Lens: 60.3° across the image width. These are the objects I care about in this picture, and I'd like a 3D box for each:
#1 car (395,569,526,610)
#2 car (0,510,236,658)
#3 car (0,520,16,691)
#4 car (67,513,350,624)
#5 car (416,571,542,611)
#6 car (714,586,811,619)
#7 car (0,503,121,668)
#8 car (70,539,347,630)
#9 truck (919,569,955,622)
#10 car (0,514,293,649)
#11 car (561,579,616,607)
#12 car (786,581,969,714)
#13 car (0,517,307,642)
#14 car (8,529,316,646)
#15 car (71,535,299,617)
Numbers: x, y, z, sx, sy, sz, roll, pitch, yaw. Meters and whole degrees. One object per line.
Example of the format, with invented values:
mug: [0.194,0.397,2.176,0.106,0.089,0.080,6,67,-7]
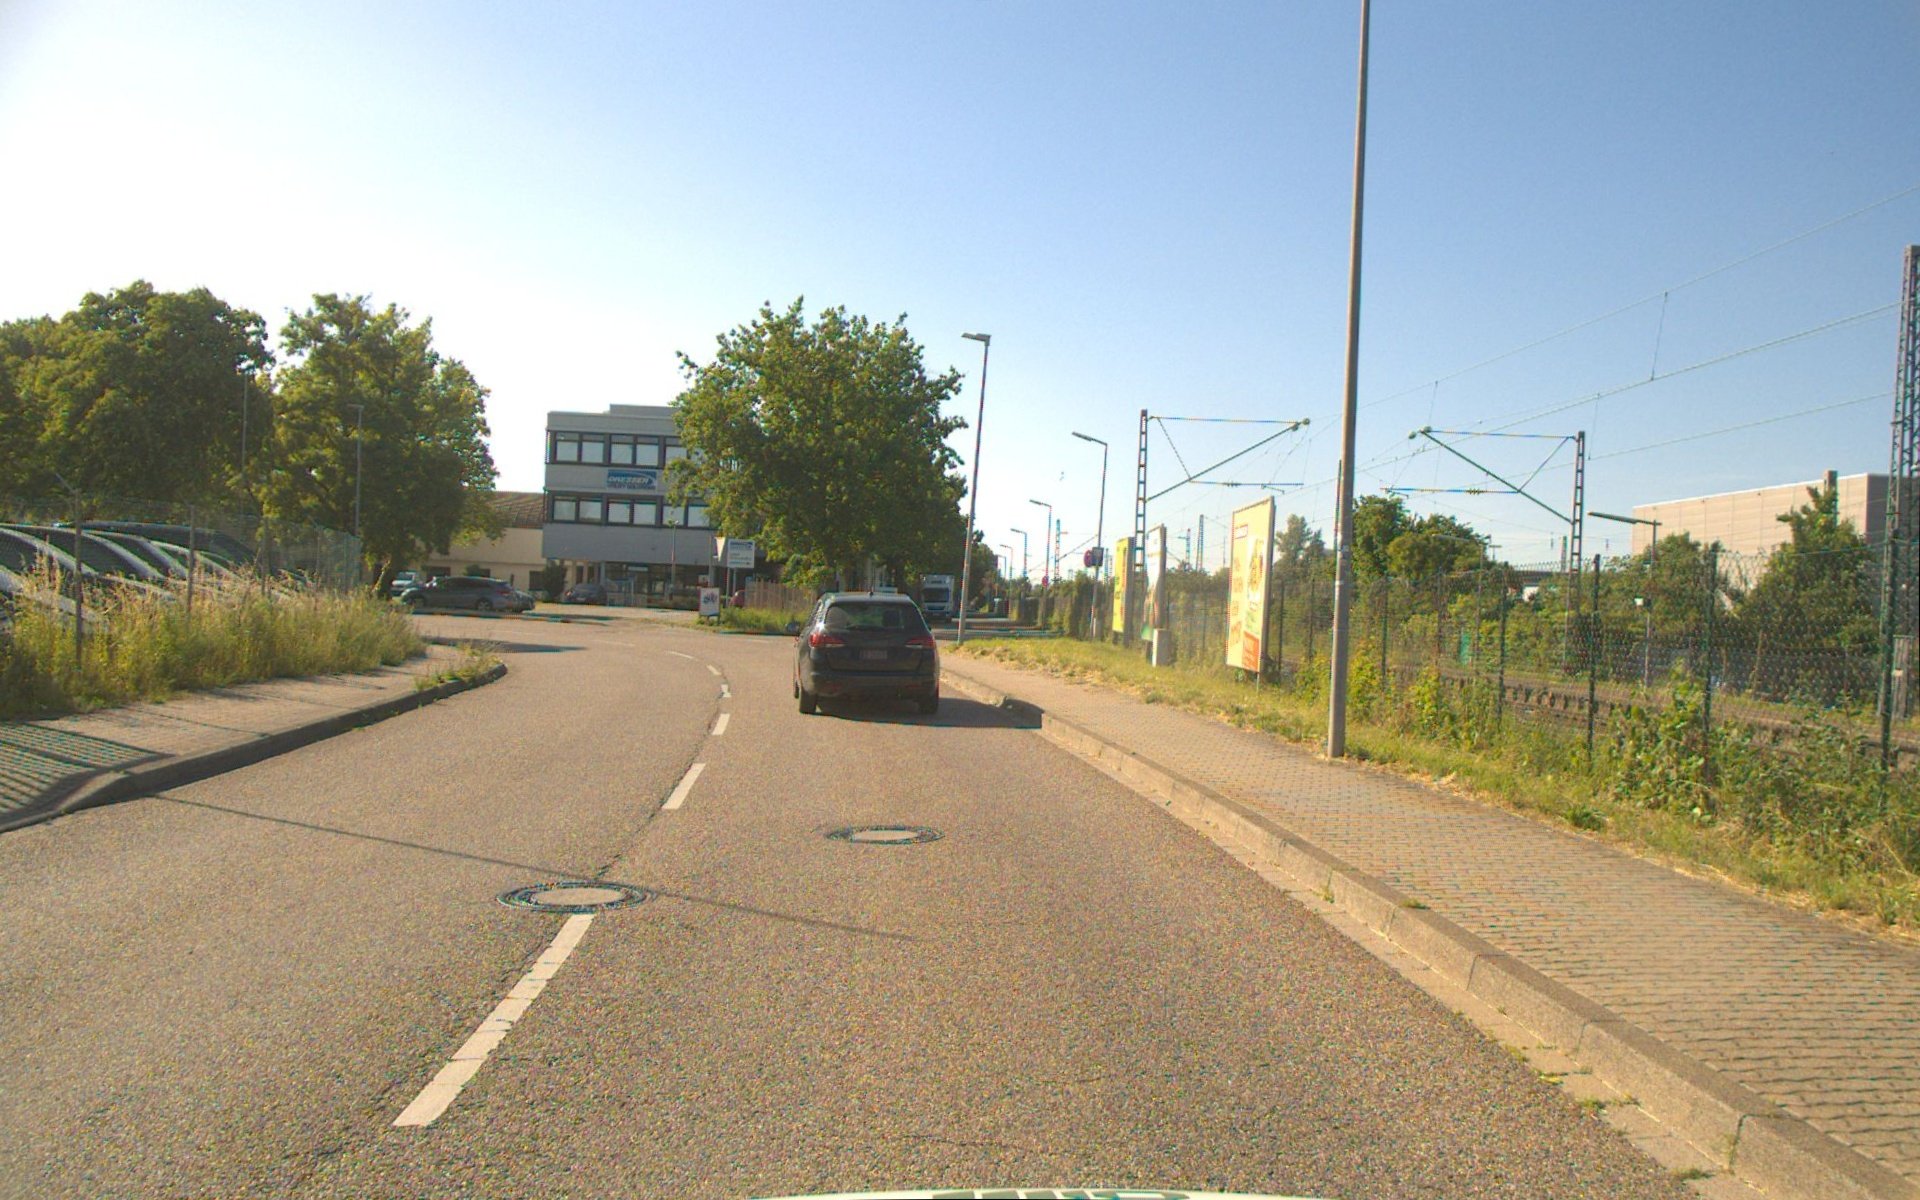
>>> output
car: [-20.722,-0.427,68.749,4.810,1.451,2.000,2,0,0]
car: [-11.496,-0.235,20.480,4.316,1.677,1.833,2,0,-15]
car: [-11.387,-0.029,15.142,4.309,1.677,1.836,2,0,-10]
car: [-14.808,-0.582,32.727,4.797,1.925,1.817,2,0,-36]
car: [-20.707,-0.382,71.351,4.810,1.510,2.000,2,0,0]
car: [-10.558,0.110,88.751,4.807,1.510,2.001,3,1,5]
car: [-11.543,-0.234,17.528,4.312,1.677,1.835,2,0,-12]
car: [-13.811,-0.268,30.502,4.355,1.461,1.817,2,0,-37]
truck: [-1.940,-0.336,133.039,2.560,3.952,13.527,3,0,-2]
car: [-11.767,-0.247,23.012,4.346,1.677,1.821,2,0,-32]
car: [-22.467,-0.440,100.262,1.952,1.510,4.929,2,1,3]
car: [-1.202,0.546,21.735,1.906,1.514,4.556,1,1,-9]
car: [-12.409,-0.282,25.137,4.346,1.677,1.821,2,0,-32]
car: [-13.035,-0.190,27.340,4.324,1.677,1.830,2,0,-20]
car: [-17.658,-0.513,37.866,1.804,1.677,4.387,2,0,36]
